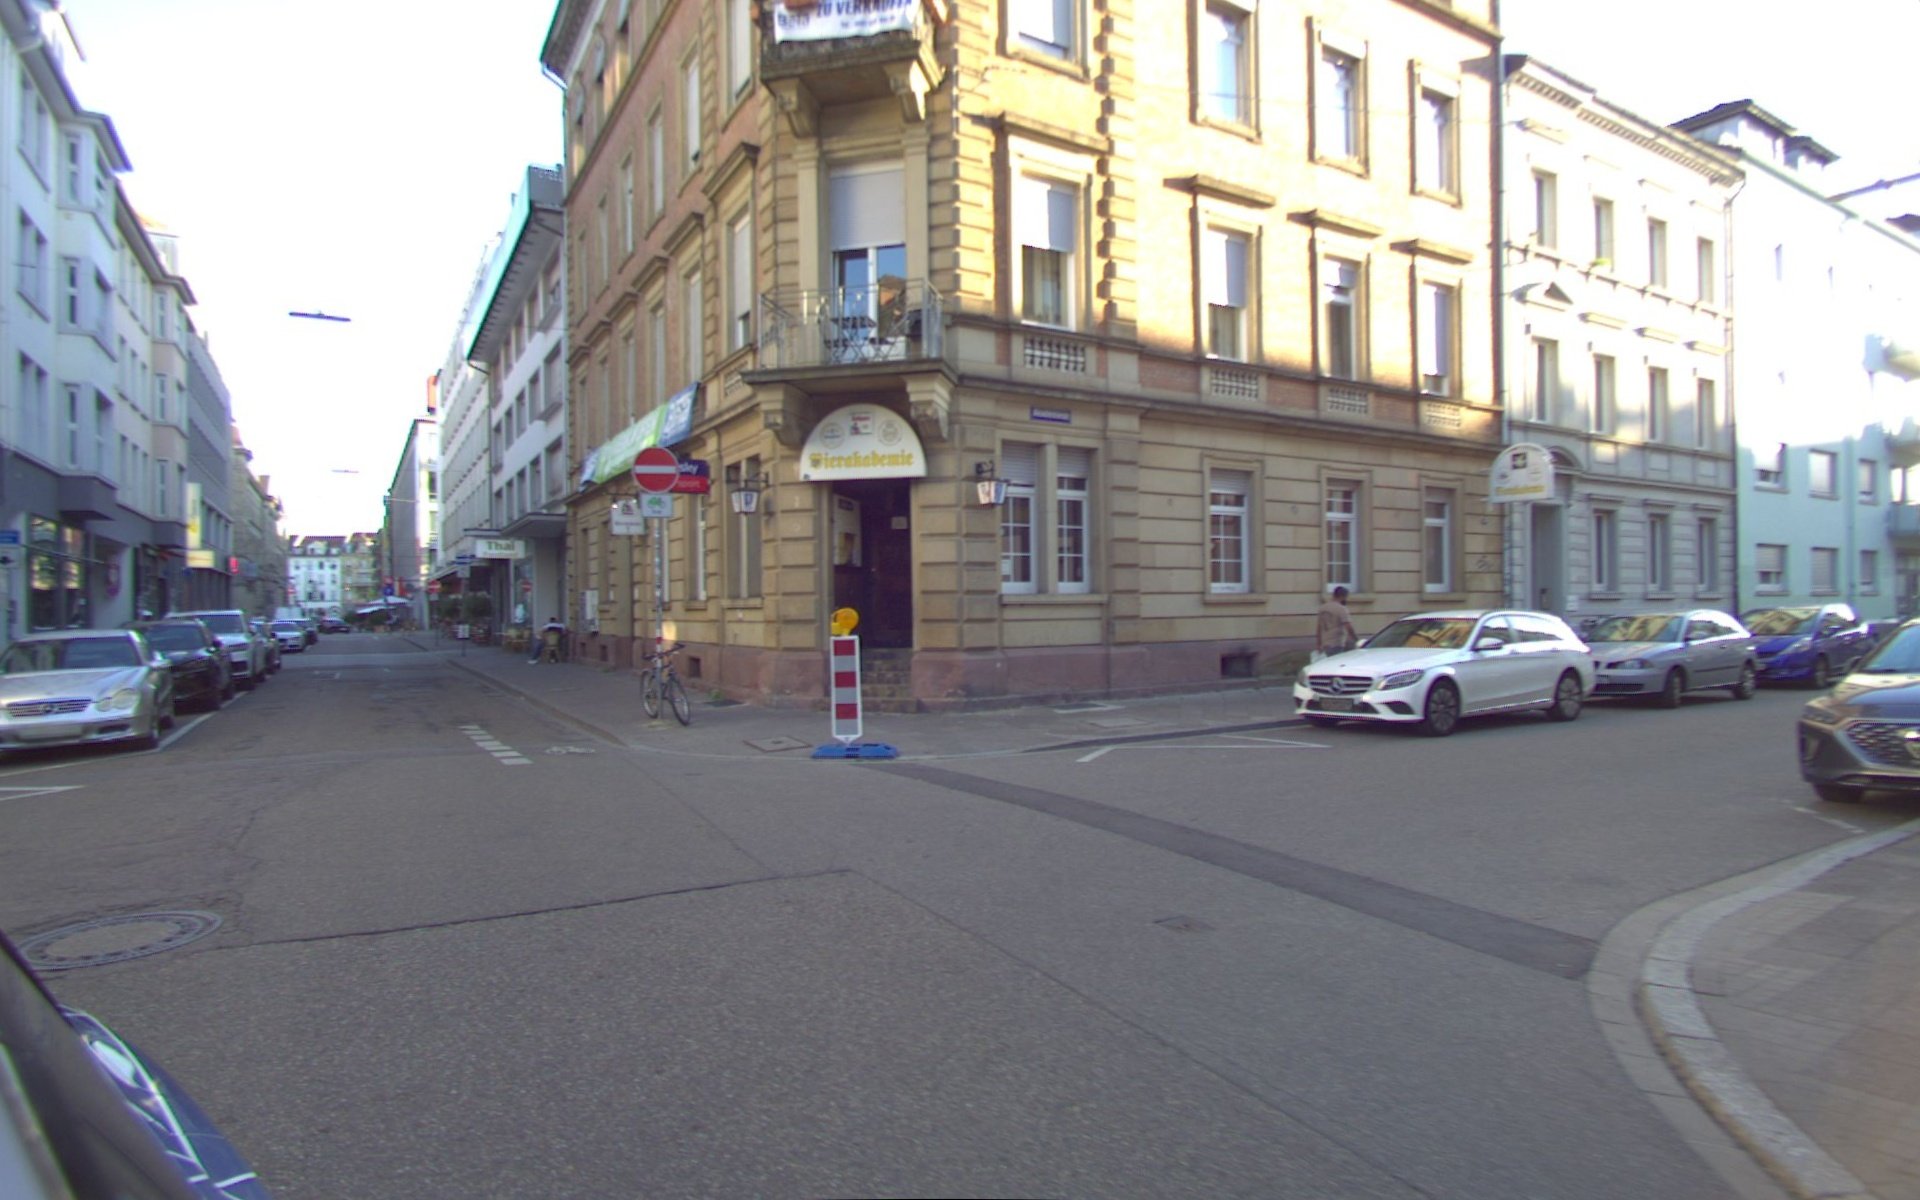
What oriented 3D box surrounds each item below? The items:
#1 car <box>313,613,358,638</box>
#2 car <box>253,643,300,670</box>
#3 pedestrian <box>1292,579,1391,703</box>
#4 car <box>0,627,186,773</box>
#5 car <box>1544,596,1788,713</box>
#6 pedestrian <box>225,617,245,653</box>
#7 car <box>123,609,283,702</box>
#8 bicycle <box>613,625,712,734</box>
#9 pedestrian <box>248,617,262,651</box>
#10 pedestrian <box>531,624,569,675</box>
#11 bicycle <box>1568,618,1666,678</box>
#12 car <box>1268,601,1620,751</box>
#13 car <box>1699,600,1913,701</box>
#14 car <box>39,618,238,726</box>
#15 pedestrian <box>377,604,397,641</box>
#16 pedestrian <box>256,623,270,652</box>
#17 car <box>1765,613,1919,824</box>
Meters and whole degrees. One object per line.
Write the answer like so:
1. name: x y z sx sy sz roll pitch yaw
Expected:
1. car: -52.692 2.093 85.343 3.995 2.029 1.974 -1 -1 39
2. car: -30.035 2.447 44.547 1.489 1.067 3.477 0 -1 -30
3. pedestrian: 5.658 0.586 15.025 1.000 1.755 0.986 0 -1 -39
4. car: -10.642 1.071 12.148 1.727 1.412 4.501 -2 0 -33
5. car: 10.908 0.770 15.605 3.690 1.589 1.635 0 -1 -30
6. pedestrian: -45.025 2.169 62.848 1.015 2.191 0.887 0 -2 -38
7. car: -16.273 1.133 22.013 2.297 1.757 4.501 0 -1 -30
8. bicycle: -3.906 0.989 13.214 0.650 1.284 1.768 -4 1 -34
9. pedestrian: -44.954 2.172 64.511 0.715 2.107 0.806 0 -2 -38
10. pedestrian: -11.369 1.360 28.088 0.825 1.349 0.807 0 -1 -10
11. bicycle: 13.970 0.993 21.497 2.419 1.169 0.742 0 -1 -31
12. car: 6.231 0.841 12.904 4.430 1.576 2.005 0 -1 -33
13. car: 15.639 0.868 18.690 3.751 1.671 1.797 0 -1 -30
14. car: -13.524 1.099 16.940 1.980 1.536 4.130 0 -1 -30
15. pedestrian: -41.833 1.656 73.922 1.227 2.634 1.471 0 -1 -31
16. pedestrian: -43.706 2.358 63.481 0.700 1.774 0.887 0 -2 -38
17. car: 7.994 0.762 7.534 3.724 1.383 1.950 0 -3 -32
